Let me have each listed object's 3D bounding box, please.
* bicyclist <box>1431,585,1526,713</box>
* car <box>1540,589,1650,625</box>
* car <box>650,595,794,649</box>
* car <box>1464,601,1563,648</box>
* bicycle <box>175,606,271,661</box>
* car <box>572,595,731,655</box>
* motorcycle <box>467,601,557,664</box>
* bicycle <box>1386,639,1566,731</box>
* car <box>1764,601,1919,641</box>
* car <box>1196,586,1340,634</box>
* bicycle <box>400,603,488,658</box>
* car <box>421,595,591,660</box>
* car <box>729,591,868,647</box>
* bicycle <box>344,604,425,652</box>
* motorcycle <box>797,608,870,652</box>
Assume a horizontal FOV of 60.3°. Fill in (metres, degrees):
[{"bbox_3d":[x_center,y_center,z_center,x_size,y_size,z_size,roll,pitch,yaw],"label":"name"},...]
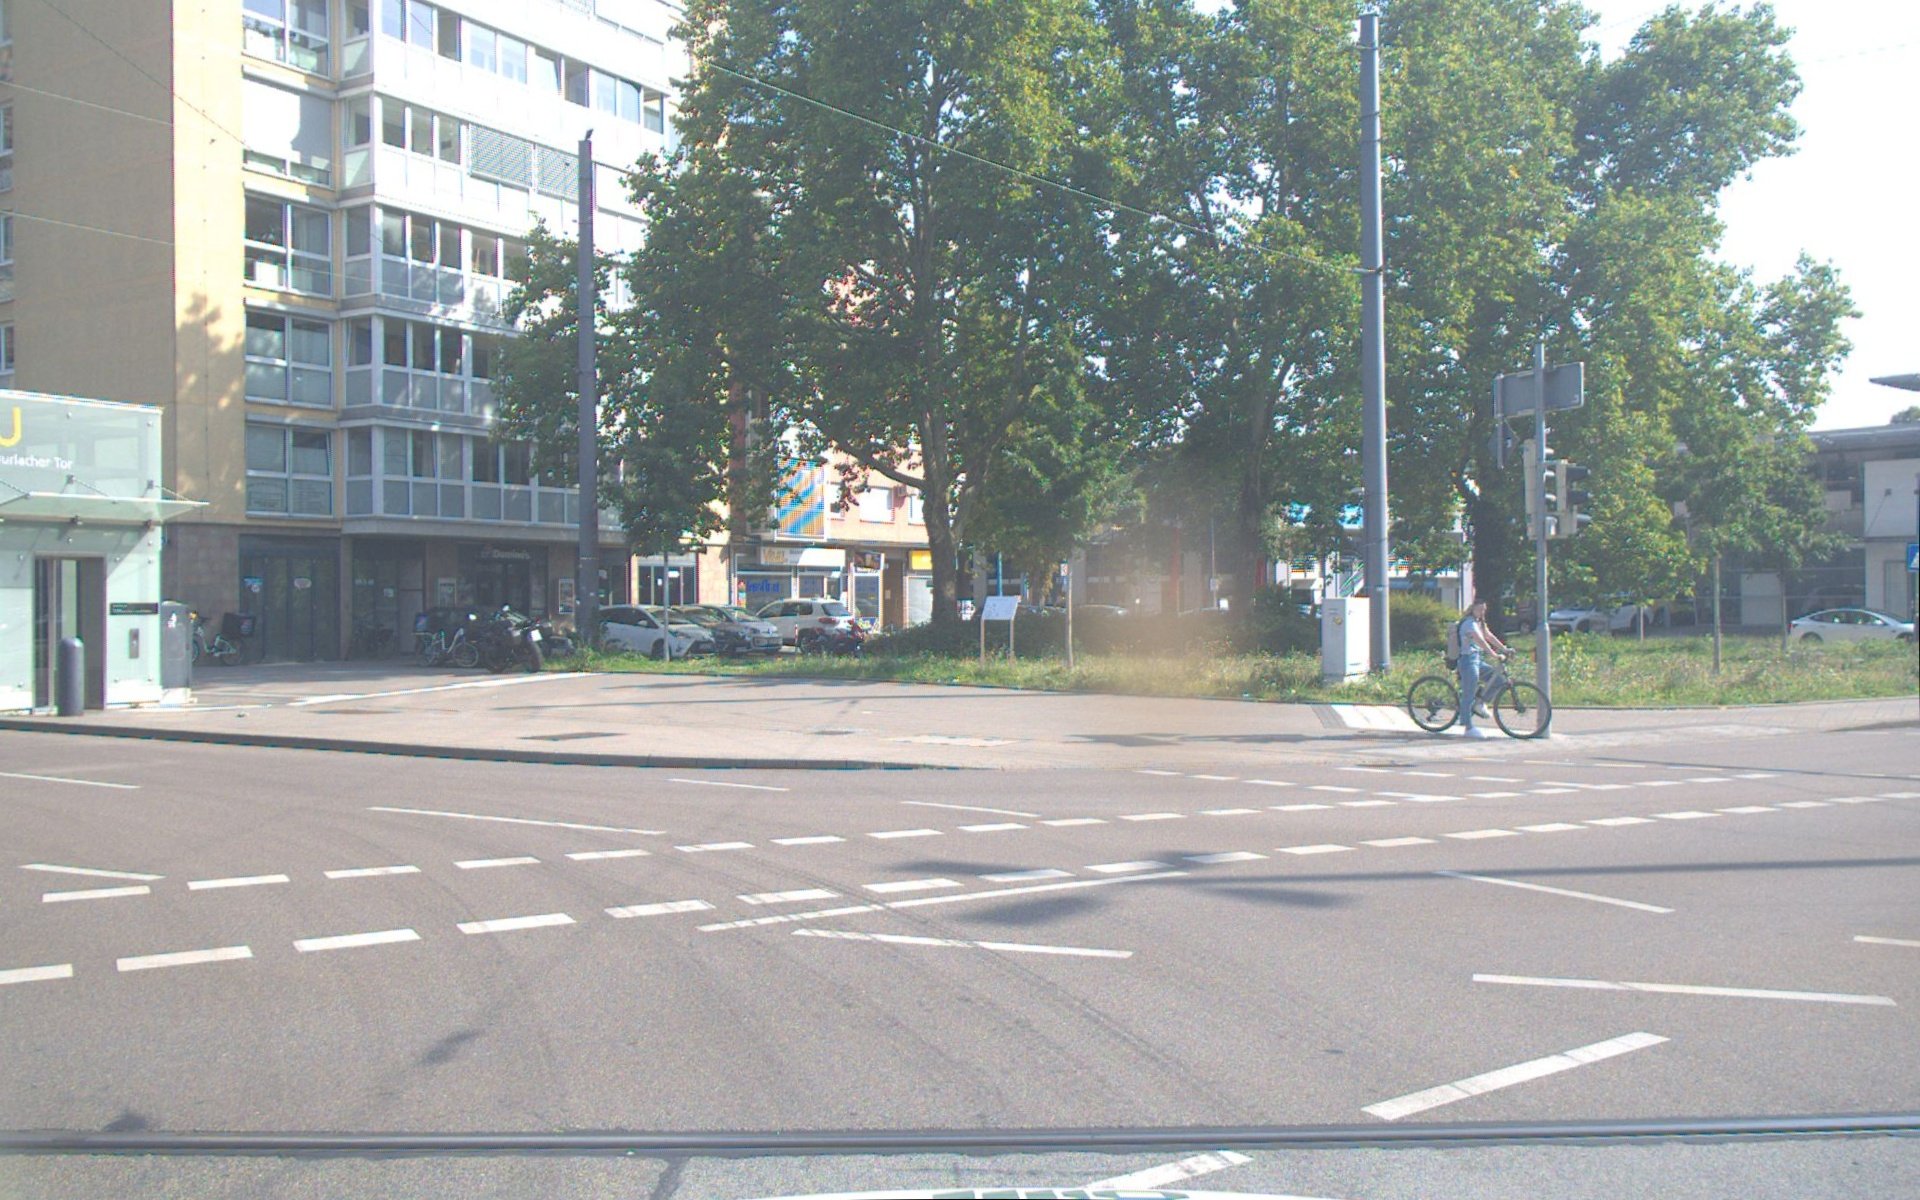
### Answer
[{"bbox_3d":[6.083,0.554,19.409,0.724,1.451,0.808,0,1,-39],"label":"bicyclist"},{"bbox_3d":[26.807,0.286,69.880,3.981,1.488,1.992,0,0,-15],"label":"car"},{"bbox_3d":[-7.135,0.651,49.489,3.915,1.533,1.995,-1,0,33],"label":"car"},{"bbox_3d":[24.866,1.068,74.410,1.922,2.049,3.955,0,0,-32],"label":"car"},{"bbox_3d":[-17.157,0.762,38.542,0.656,1.227,2.019,0,1,31],"label":"bicycle"},{"bbox_3d":[-8.293,0.646,44.450,3.915,1.533,1.995,-1,0,33],"label":"car"},{"bbox_3d":[-8.578,0.605,31.591,0.699,1.167,2.265,-1,0,-42],"label":"motorcycle"},{"bbox_3d":[6.034,0.971,19.456,0.562,0.909,2.047,0,2,-39],"label":"bicycle"},{"bbox_3d":[27.809,0.638,51.831,1.983,1.186,4.331,-1,0,-42],"label":"car"},{"bbox_3d":[9.443,0.309,50.739,3.913,1.400,1.996,-1,0,31],"label":"car"},{"bbox_3d":[-12.105,0.713,38.766,2.249,1.256,0.524,-1,0,27],"label":"bicycle"},{"bbox_3d":[-10.973,0.647,39.902,4.106,1.466,1.657,-1,0,33],"label":"car"},{"bbox_3d":[-5.000,0.569,51.087,3.915,1.673,1.995,-1,0,33],"label":"car"},{"bbox_3d":[-14.926,0.715,42.950,0.656,1.204,2.019,0,1,31],"label":"bicycle"},{"bbox_3d":[-3.039,0.708,39.585,0.699,1.019,1.926,-1,0,-42],"label":"motorcycle"}]
